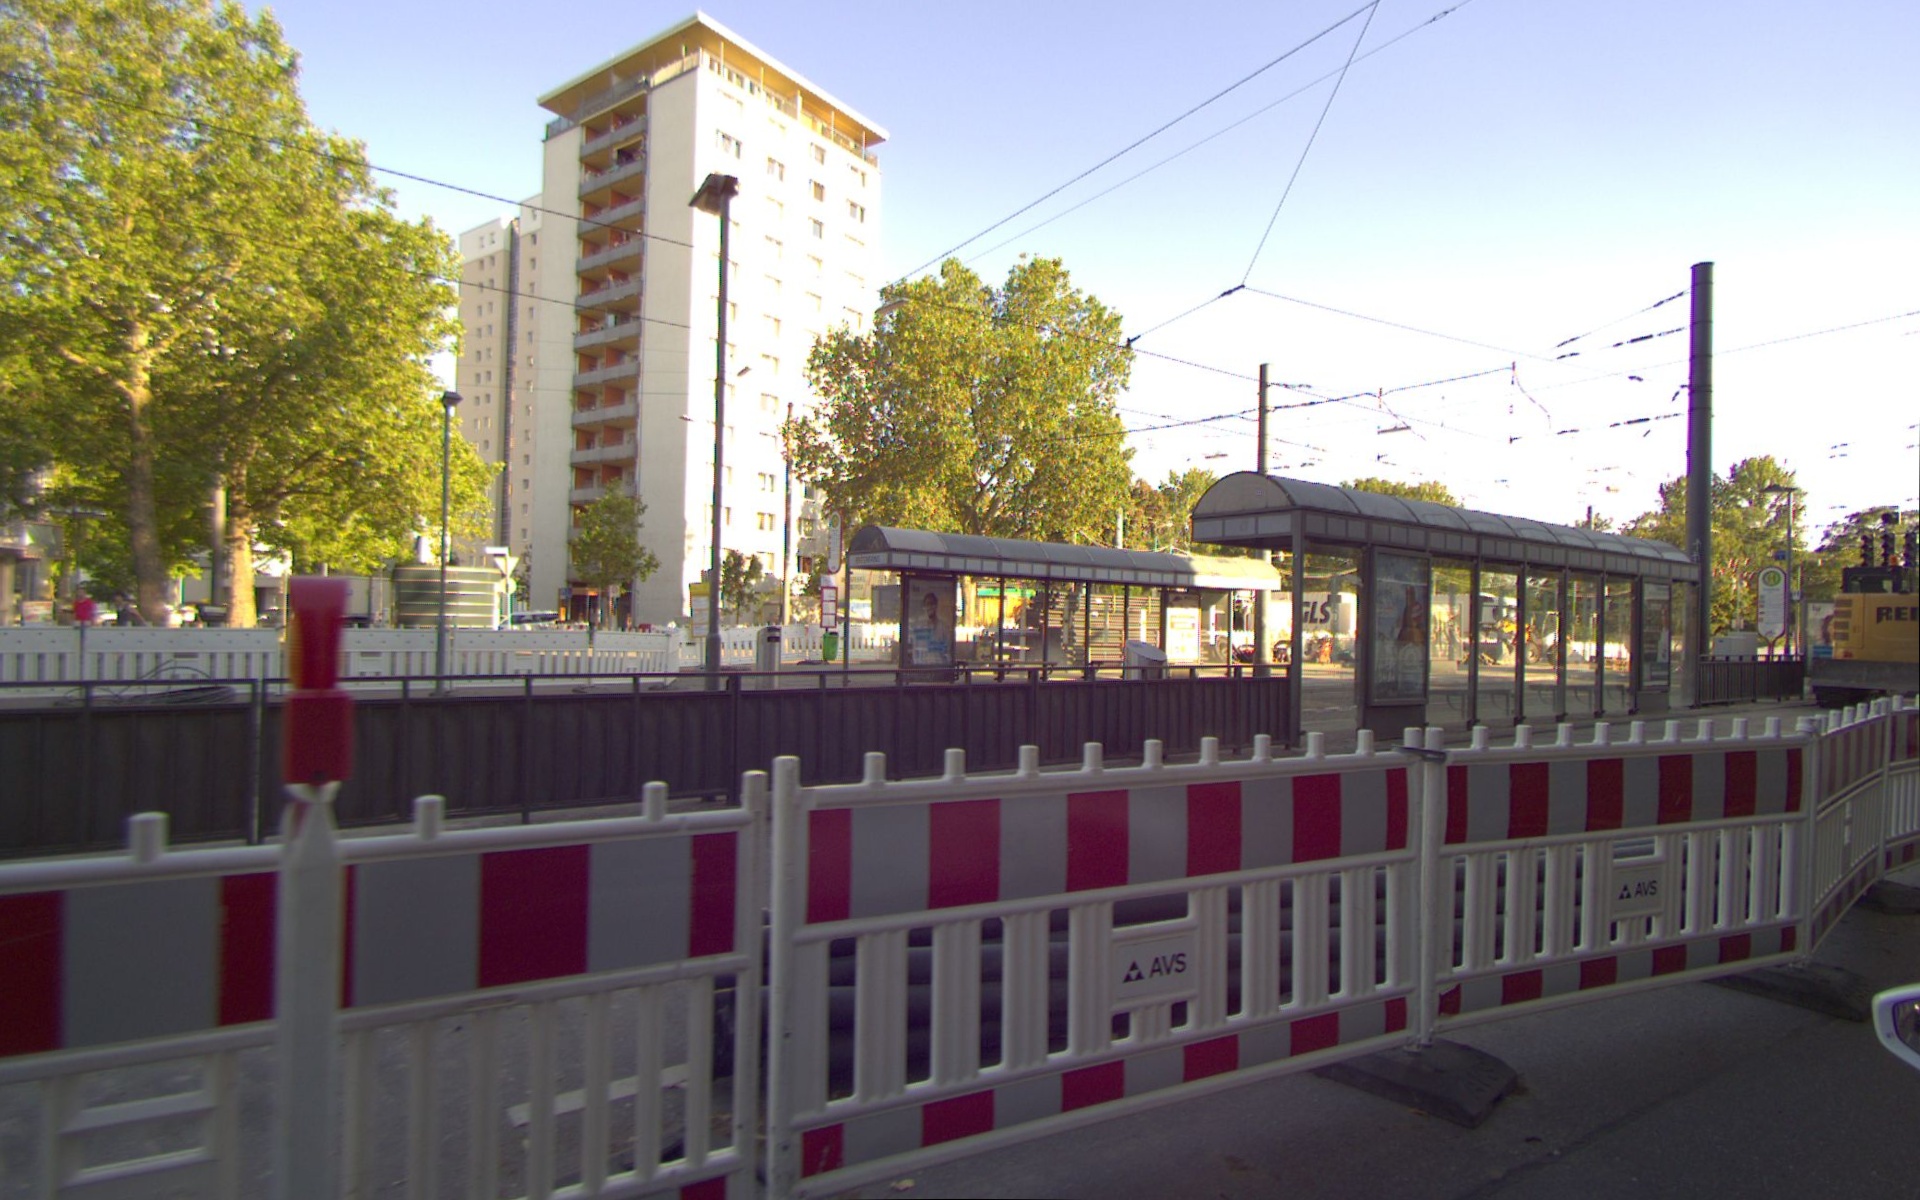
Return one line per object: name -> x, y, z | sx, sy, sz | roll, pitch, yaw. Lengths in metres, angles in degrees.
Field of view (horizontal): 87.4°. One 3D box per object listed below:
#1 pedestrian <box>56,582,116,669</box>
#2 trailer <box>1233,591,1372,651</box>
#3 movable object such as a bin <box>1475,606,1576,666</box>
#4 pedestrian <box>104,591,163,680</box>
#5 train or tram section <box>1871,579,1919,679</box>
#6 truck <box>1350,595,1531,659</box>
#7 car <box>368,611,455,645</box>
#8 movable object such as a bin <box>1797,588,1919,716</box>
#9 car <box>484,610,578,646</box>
pedestrian -> -20.927, 0.618, 24.076 | 0.873, 2.040, 0.881 | 1, -1, -29
trailer -> 24.547, 1.462, 72.502 | 2.876, 3.848, 9.127 | 3, 0, -43
movable object such as a bin -> 26.471, 1.699, 47.021 | 4.545, 2.674, 2.141 | 2, -1, -30
pedestrian -> -19.366, 0.821, 23.556 | 0.873, 2.040, 0.881 | 1, -1, -29
train or tram section -> 40.965, 1.275, 36.723 | 13.137, 3.579, 2.858 | 2, -1, -3
truck -> 31.121, 1.685, 65.562 | 2.881, 3.840, 10.297 | 3, -2, -44
car -> -34.633, 1.768, 63.490 | 1.964, 2.040, 4.437 | 1, -1, 29
movable object such as a bin -> 19.181, 1.007, 20.202 | 4.858, 2.348, 2.623 | 2, -1, -38
car -> -25.307, 1.665, 59.419 | 1.964, 2.040, 4.906 | 1, -1, 29
